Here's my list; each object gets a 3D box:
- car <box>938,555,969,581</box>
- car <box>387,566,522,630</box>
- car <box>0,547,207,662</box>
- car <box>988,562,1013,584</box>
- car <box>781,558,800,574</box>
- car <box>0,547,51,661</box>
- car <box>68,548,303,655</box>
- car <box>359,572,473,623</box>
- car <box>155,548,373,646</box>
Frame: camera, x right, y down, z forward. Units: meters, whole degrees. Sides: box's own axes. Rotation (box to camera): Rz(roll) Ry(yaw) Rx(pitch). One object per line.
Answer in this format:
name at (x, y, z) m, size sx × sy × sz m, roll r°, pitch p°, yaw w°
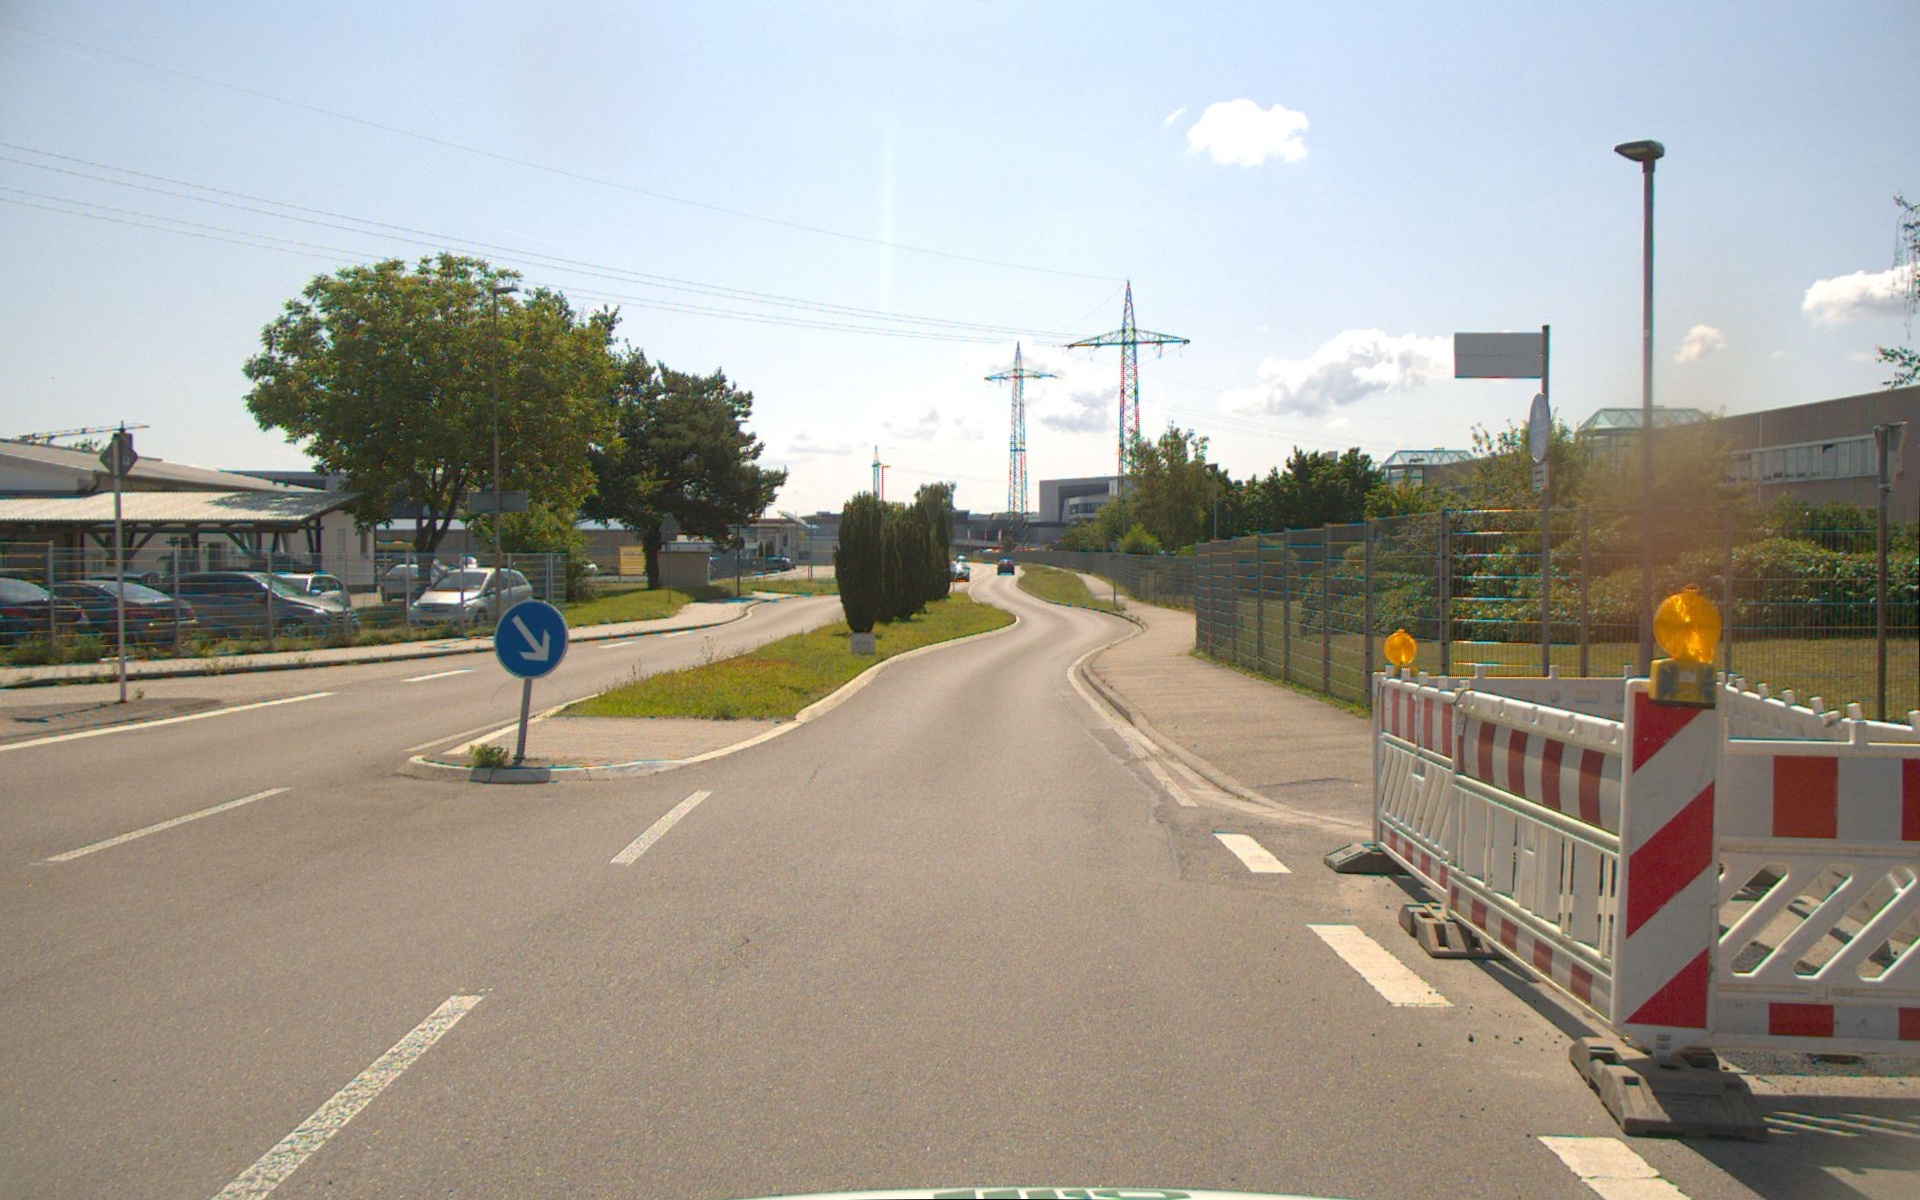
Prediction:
car at (-0.532, -2.674, 137.552) m, size 2.440 × 2.048 × 4.664 m, roll 1°, pitch 2°, yaw -2°
car at (-12.753, -0.065, 41.942) m, size 1.789 × 1.544 × 3.592 m, roll 0°, pitch 0°, yaw 11°
car at (-16.020, 0.028, 30.264) m, size 3.907 × 1.936 × 1.999 m, roll 1°, pitch 2°, yaw 24°
car at (4.186, -2.781, 170.426) m, size 2.226 × 1.981 × 4.663 m, roll 3°, pitch -1°, yaw -1°
car at (-21.756, -4.336, 212.469) m, size 1.953 × 2.049 × 4.000 m, roll 0°, pitch 0°, yaw 0°
car at (-17.191, 0.026, 27.342) m, size 3.911 × 1.811 × 1.997 m, roll 2°, pitch 2°, yaw 28°
car at (-15.163, -0.021, 32.421) m, size 3.904 × 1.936 × 2.001 m, roll 1°, pitch 2°, yaw 20°
car at (-20.383, -0.115, 62.109) m, size 3.920 × 1.882 × 1.828 m, roll 0°, pitch 0°, yaw -14°
car at (-14.684, -0.098, 34.952) m, size 3.903 × 1.936 × 2.001 m, roll 1°, pitch 2°, yaw 18°
